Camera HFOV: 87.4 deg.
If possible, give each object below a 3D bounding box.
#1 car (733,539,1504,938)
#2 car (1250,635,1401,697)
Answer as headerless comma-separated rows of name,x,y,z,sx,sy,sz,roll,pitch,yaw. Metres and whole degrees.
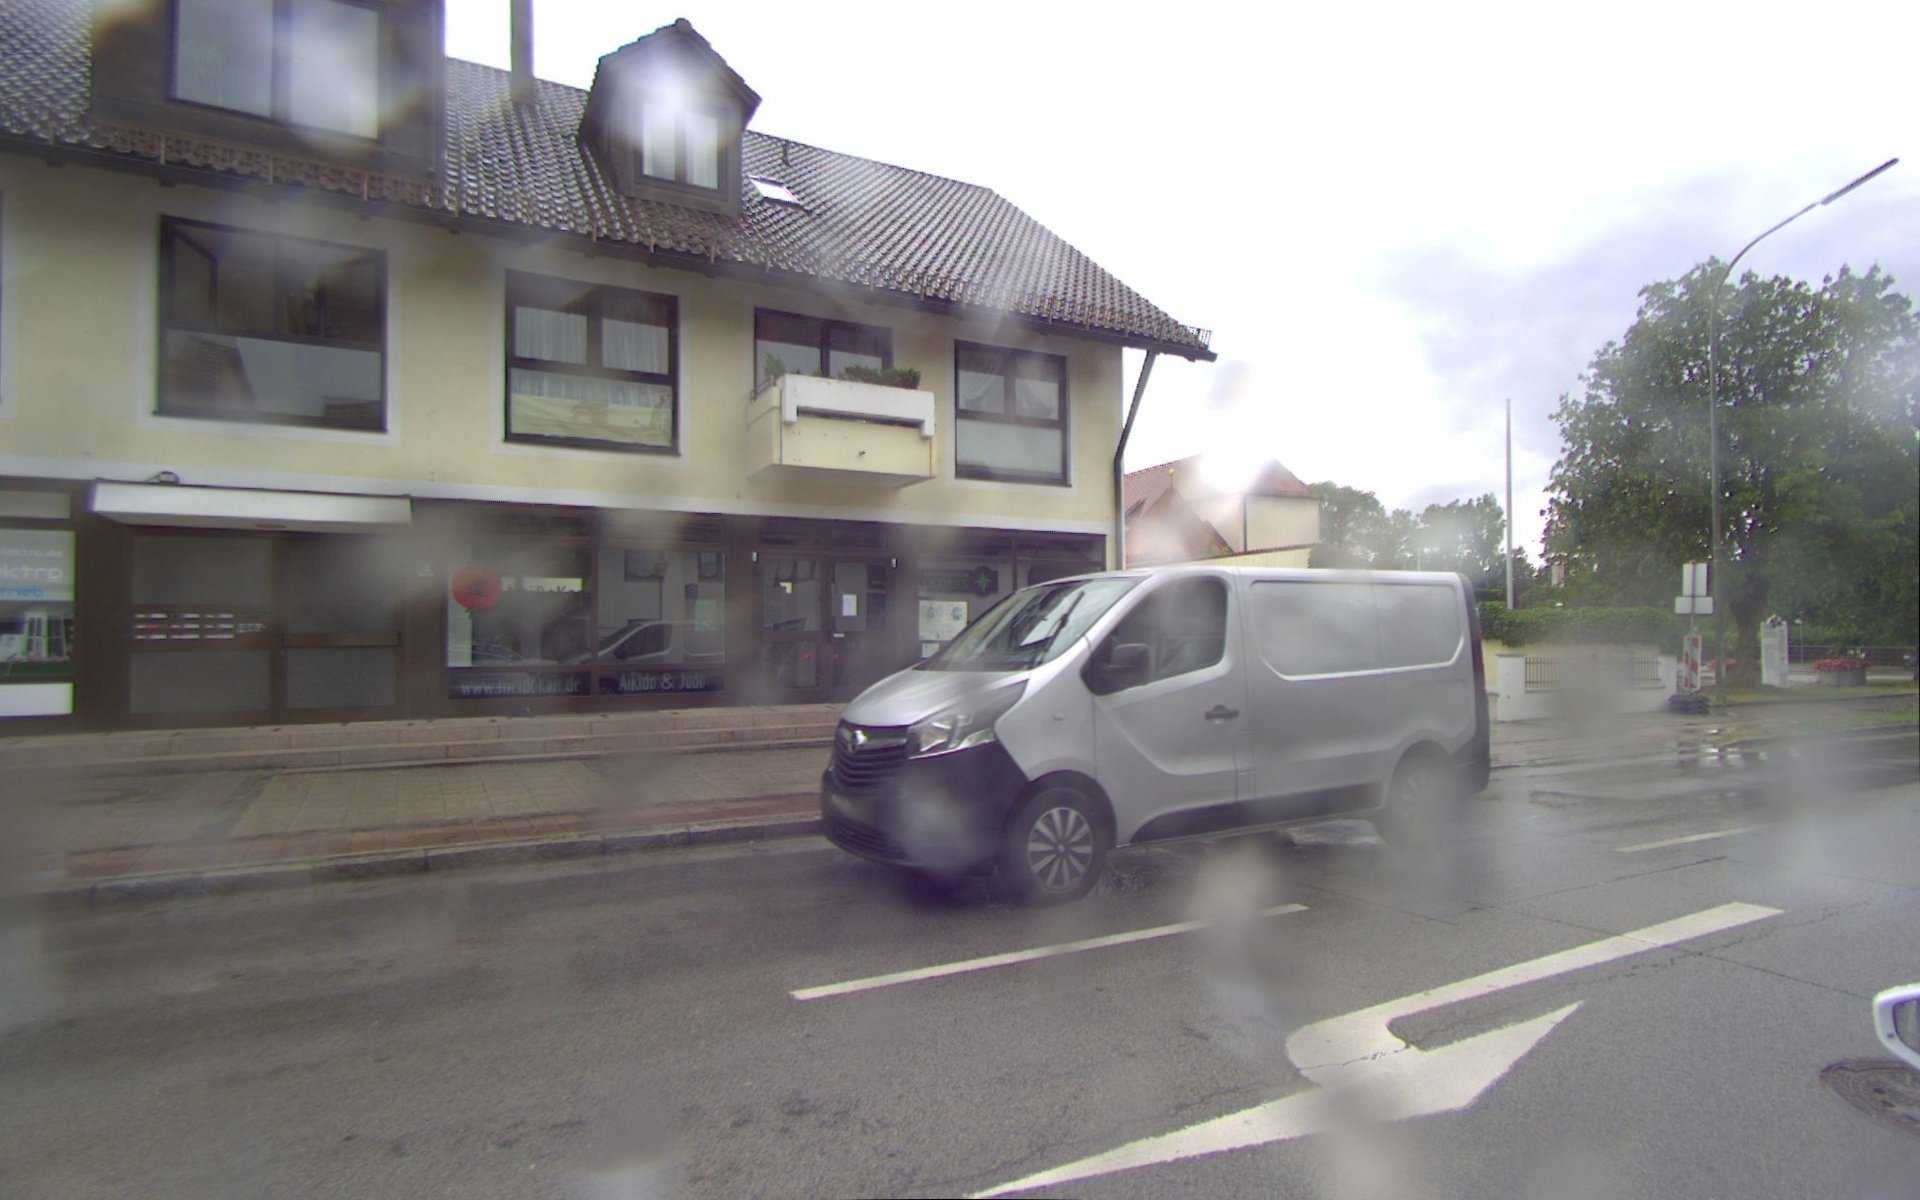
car,1.240,0.775,6.895,5.193,1.916,1.809,1,-4,-29
car,8.924,1.588,24.468,3.467,1.398,1.600,1,-3,-30
